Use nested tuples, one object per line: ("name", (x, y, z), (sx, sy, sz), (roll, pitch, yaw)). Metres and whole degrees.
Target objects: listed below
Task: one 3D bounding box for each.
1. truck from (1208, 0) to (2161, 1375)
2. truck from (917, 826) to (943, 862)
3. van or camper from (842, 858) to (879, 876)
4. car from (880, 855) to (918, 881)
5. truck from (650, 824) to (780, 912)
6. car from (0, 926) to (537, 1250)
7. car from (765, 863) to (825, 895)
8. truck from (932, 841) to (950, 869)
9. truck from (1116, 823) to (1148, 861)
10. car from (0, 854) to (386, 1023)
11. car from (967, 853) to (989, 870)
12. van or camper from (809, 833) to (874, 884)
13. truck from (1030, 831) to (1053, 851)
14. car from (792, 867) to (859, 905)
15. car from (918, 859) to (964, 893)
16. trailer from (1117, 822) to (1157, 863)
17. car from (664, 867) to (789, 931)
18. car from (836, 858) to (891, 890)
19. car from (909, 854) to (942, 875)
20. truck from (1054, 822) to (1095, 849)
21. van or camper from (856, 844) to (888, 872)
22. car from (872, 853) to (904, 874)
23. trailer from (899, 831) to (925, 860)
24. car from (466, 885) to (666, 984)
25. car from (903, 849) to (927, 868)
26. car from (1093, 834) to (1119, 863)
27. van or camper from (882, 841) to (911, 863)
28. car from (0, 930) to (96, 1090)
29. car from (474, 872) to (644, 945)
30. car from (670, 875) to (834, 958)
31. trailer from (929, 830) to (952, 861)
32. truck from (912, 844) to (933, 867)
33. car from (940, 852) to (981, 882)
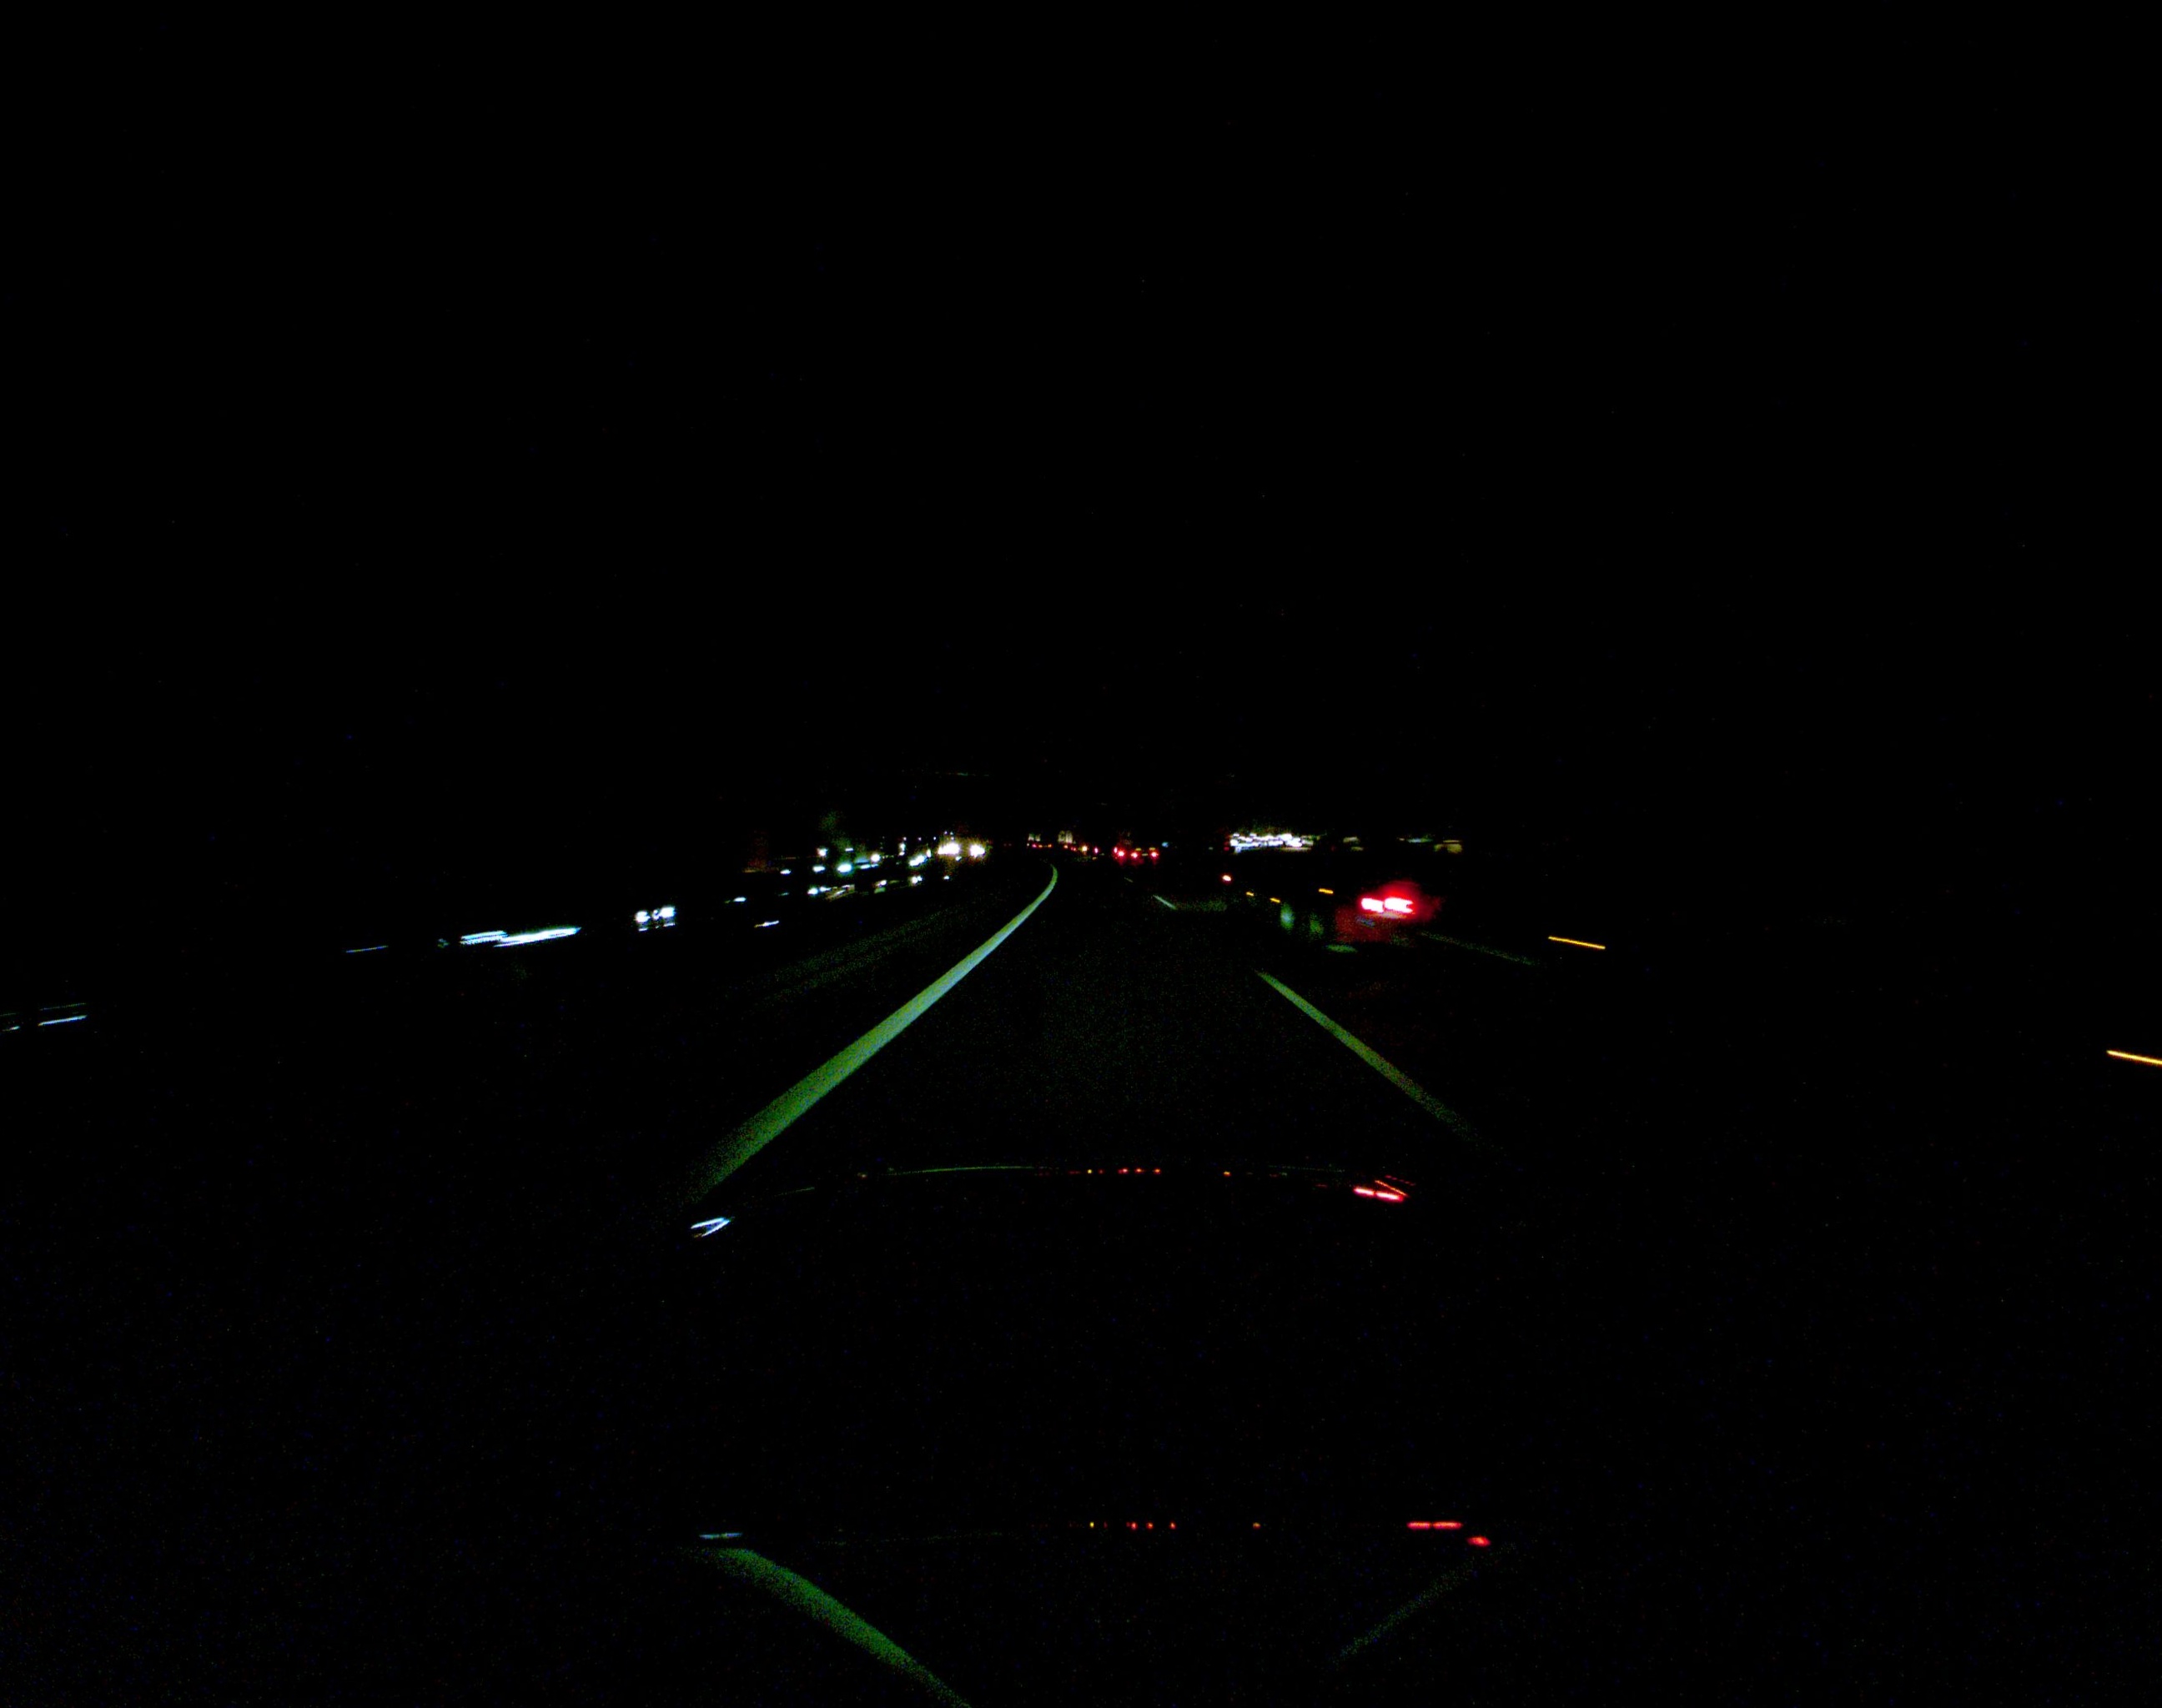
("truck", (4.342, -0.936, 9.204), (3.469, 4.134, 18.717), (0, 0, 2))
("truck", (-18.962, -1.265, 102.555), (2.863, 4.210, 6.090), (-2, 1, -8))
("van or camper", (-21.107, 1.235, 78.254), (2.216, 1.549, 5.213), (-1, 1, -2))
("car", (-11.674, 0.853, 52.482), (1.636, 1.539, 3.997), (-2, 0, -2))
("truck", (-15.429, 0.561, 35.010), (2.370, 3.260, 7.714), (-3, 0, -3))
("car", (-6.856, 1.515, 6.573), (1.748, 1.354, 4.634), (-2, 1, 0))
("car", (-15.134, 1.288, 43.326), (1.636, 1.539, 4.437), (-2, 0, 0))
("truck", (-21.897, 0.099, 127.459), (2.615, 4.268, 5.940), (-1, 1, -9))
("truck", (5.685, -1.384, 92.466), (2.854, 4.076, 7.506), (-1, 1, -2))
("car", (-14.753, 1.200, 13.669), (2.124, 2.267, 4.564), (-2, 0, 0))
("car", (-8.166, 0.588, 64.523), (1.415, 1.256, 3.126), (-1, 1, -2))
("van or camper", (-15.363, 0.222, 52.791), (2.216, 3.003, 7.120), (-1, 1, -2))
("truck", (-9.518, -3.085, 193.508), (3.346, 4.475, 13.854), (2, 1, -12))
("car", (-10.730, 1.306, 34.517), (1.529, 1.335, 4.218), (-2, 1, -1))
("car", (-7.179, 1.083, 42.010), (1.675, 1.566, 3.998), (-2, 0, -1))
("trailer", (5.839, -1.268, 87.168), (2.846, 4.067, 13.197), (-1, 1, -2))
("car", (-11.047, 1.343, 25.776), (1.988, 1.660, 4.452), (-2, 0, -1))
("car", (-11.127, 0.990, 42.014), (1.635, 1.483, 4.362), (-2, 0, 0))
("car", (-11.724, 0.760, 61.536), (1.693, 1.463, 3.483), (-1, 1, 1))
("truck", (-1.451, -3.293, 153.958), (3.917, 4.627, 20.940), (-2, 1, -11))
("van or camper", (-21.492, 0.361, 84.047), (1.990, 2.656, 6.608), (-1, 1, -4))
("car", (-16.237, 0.786, 68.764), (1.924, 1.653, 4.728), (-1, 0, -5))
("trailer", (-26.275, -1.404, 127.215), (2.838, 4.171, 13.249), (-4, 1, -8))
("car", (-11.327, 1.688, 18.294), (1.731, 1.743, 4.003), (-3, 0, 3))
("car", (-16.647, 0.424, 81.907), (1.884, 1.676, 5.067), (-2, 1, -7))
("car", (2.323, -0.456, 76.528), (2.329, 2.640, 5.247), (0, -1, 0))
("van or camper", (-22.477, -0.294, 99.399), (2.579, 2.592, 7.098), (-2, 1, -6))
("car", (-11.368, 1.582, 6.615), (1.599, 1.479, 4.078), (-3, 0, 3))
("car", (-14.724, 1.465, 23.313), (1.854, 1.700, 4.395), (-3, 0, 2))
("car", (-6.889, 1.245, 17.596), (1.748, 1.354, 4.291), (-2, 1, 0))
("trailer", (-23.031, -1.370, 134.273), (2.840, 4.462, 14.476), (-10, 2, -9))
("truck", (-17.637, 0.097, 90.657), (1.992, 2.458, 5.037), (-2, 1, -8))
("car", (-7.546, 0.750, 51.441), (1.801, 1.740, 4.867), (-2, 0, 0))
